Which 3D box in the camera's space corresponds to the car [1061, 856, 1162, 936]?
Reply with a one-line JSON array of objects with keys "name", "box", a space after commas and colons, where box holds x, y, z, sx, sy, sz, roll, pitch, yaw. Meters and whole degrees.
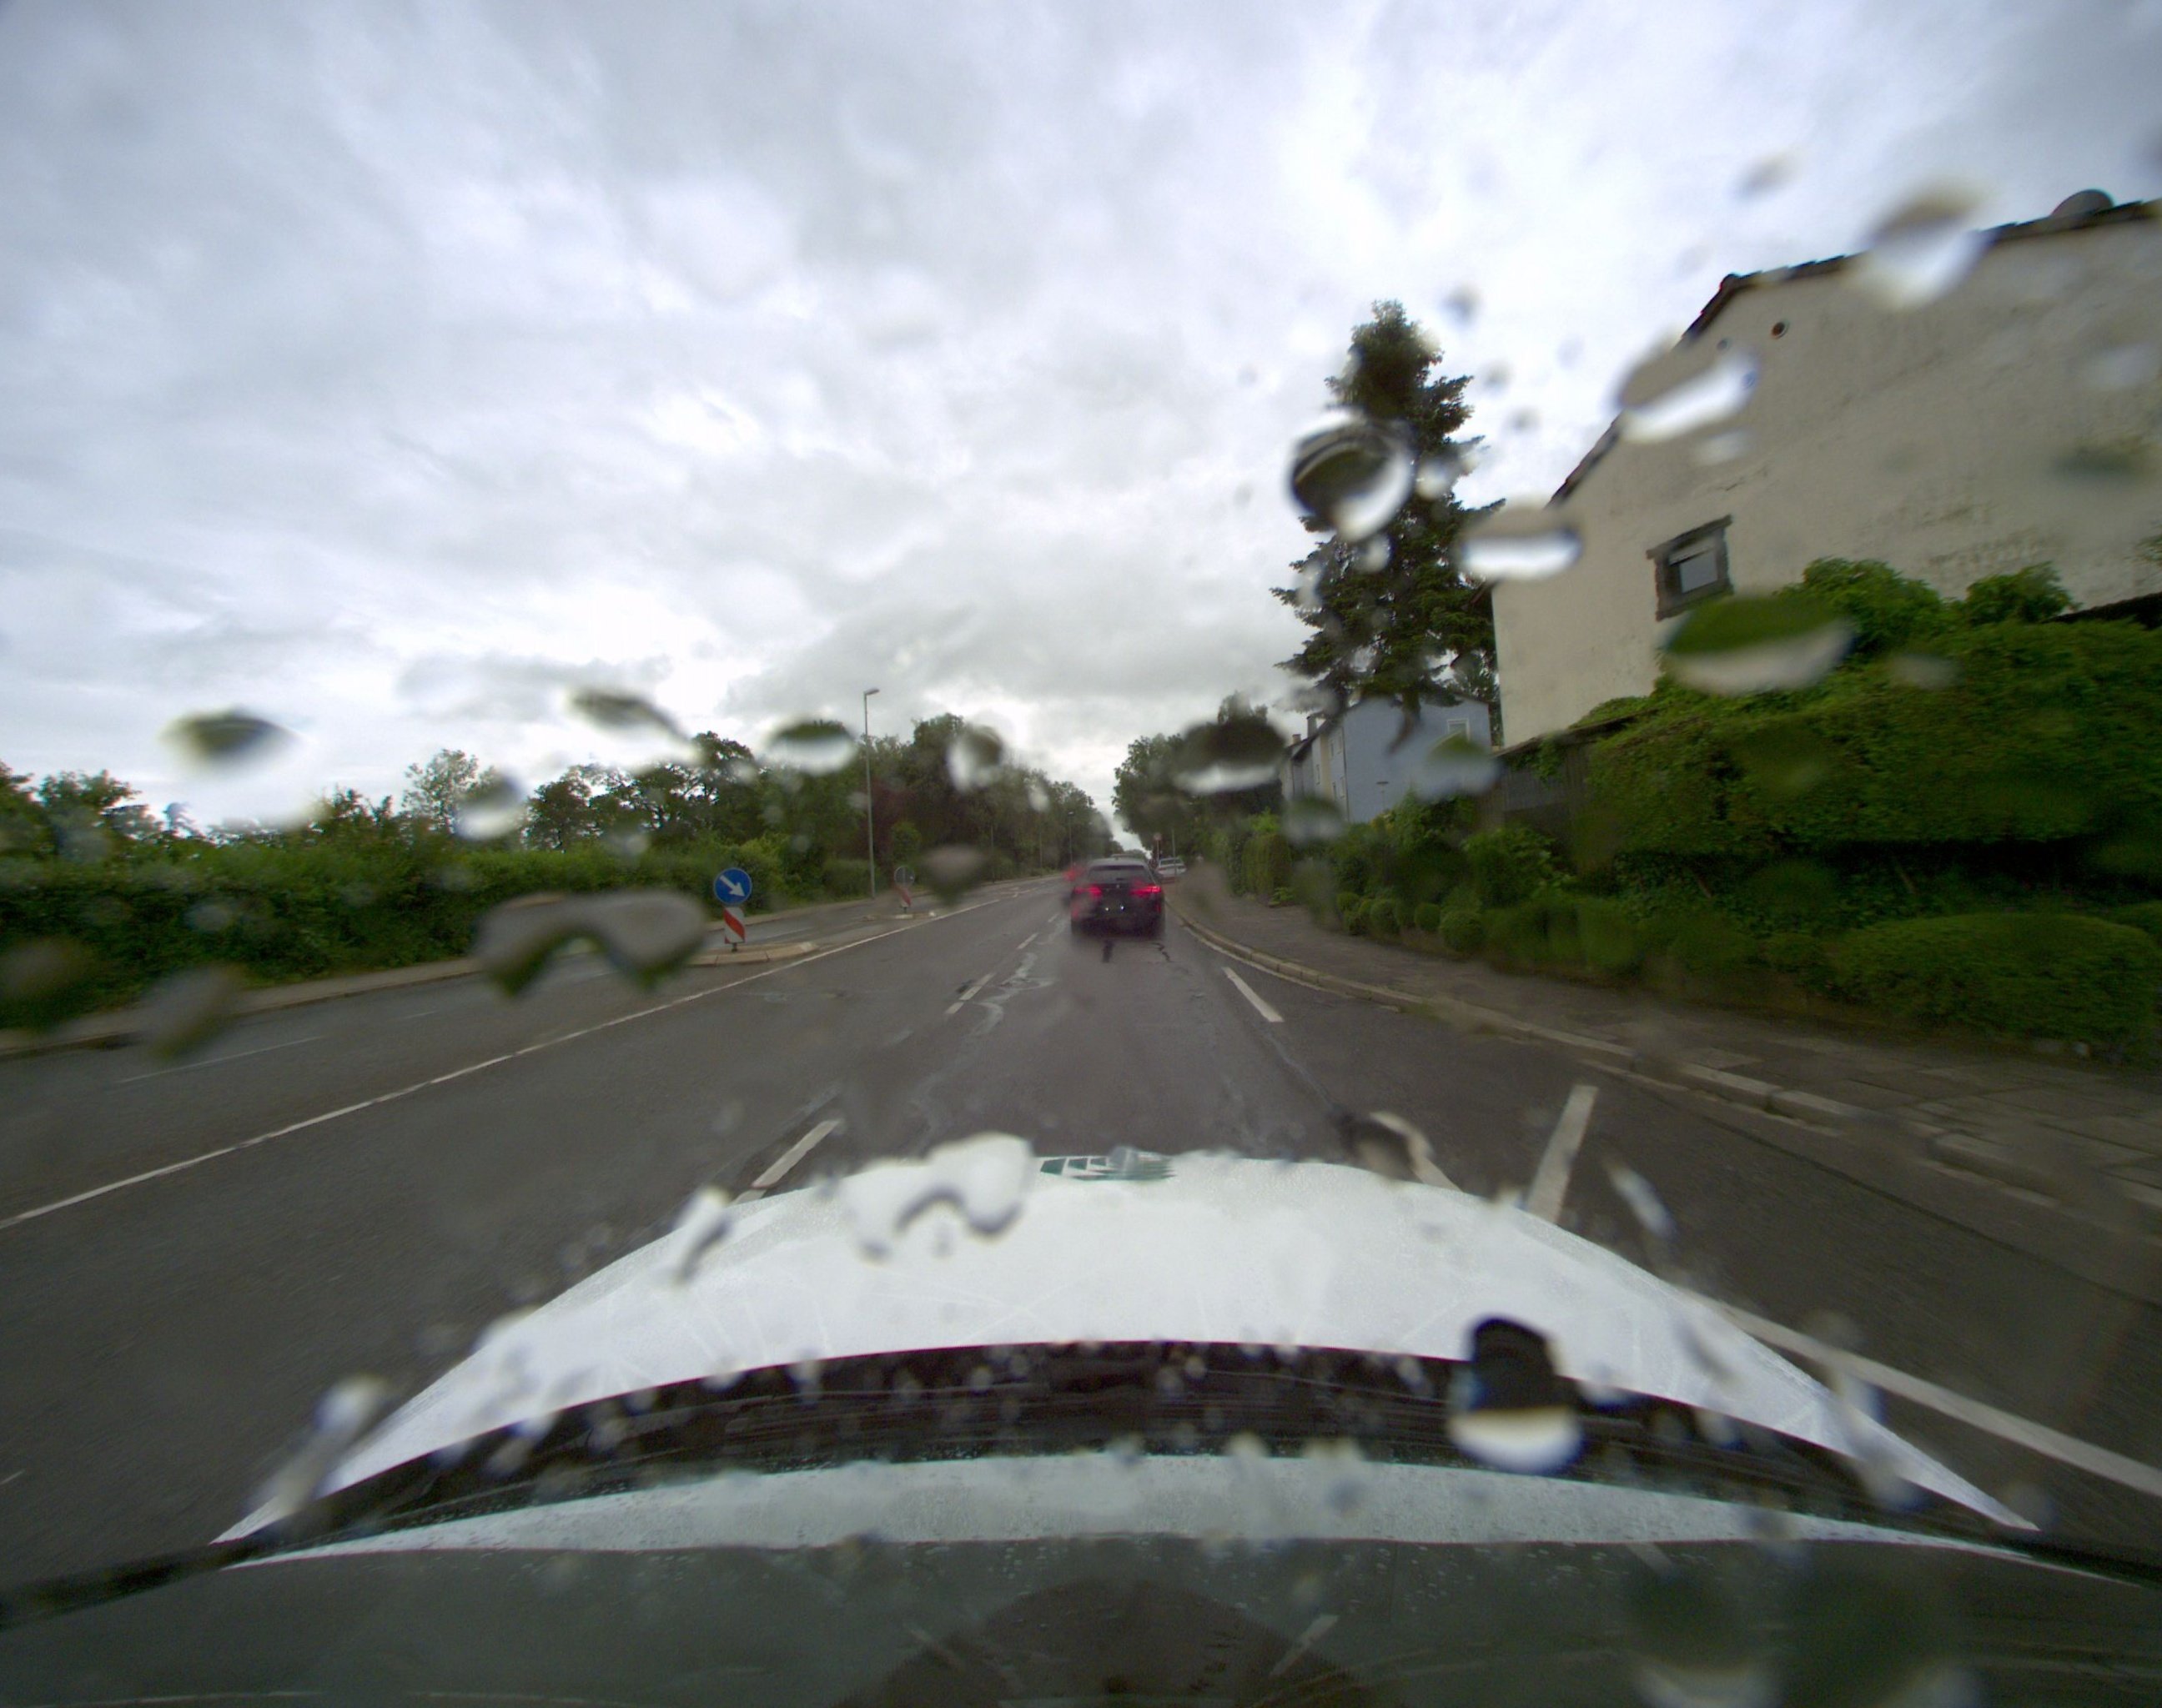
[{"name": "car", "box": [0.687, 0.804, 17.263, 1.889, 1.489, 4.003, 0, 0, 3]}]

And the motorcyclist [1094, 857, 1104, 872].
[{"name": "motorcyclist", "box": [1.978, 1.154, 90.040, 1.035, 1.567, 0.855, -1, -1, 2]}]

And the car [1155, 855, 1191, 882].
[{"name": "car", "box": [5.420, 0.843, 48.194, 1.926, 1.442, 4.413, -3, -1, 5]}]

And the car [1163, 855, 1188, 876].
[{"name": "car", "box": [7.021, 0.865, 60.907, 1.583, 1.461, 3.565, -3, -1, 3]}]

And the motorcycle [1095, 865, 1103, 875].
[{"name": "motorcycle", "box": [1.987, 1.781, 90.071, 0.872, 1.124, 2.742, -1, -1, 2]}]

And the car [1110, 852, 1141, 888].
[{"name": "car", "box": [2.521, 0.874, 46.596, 1.623, 1.833, 4.002, -3, 0, 2]}]
